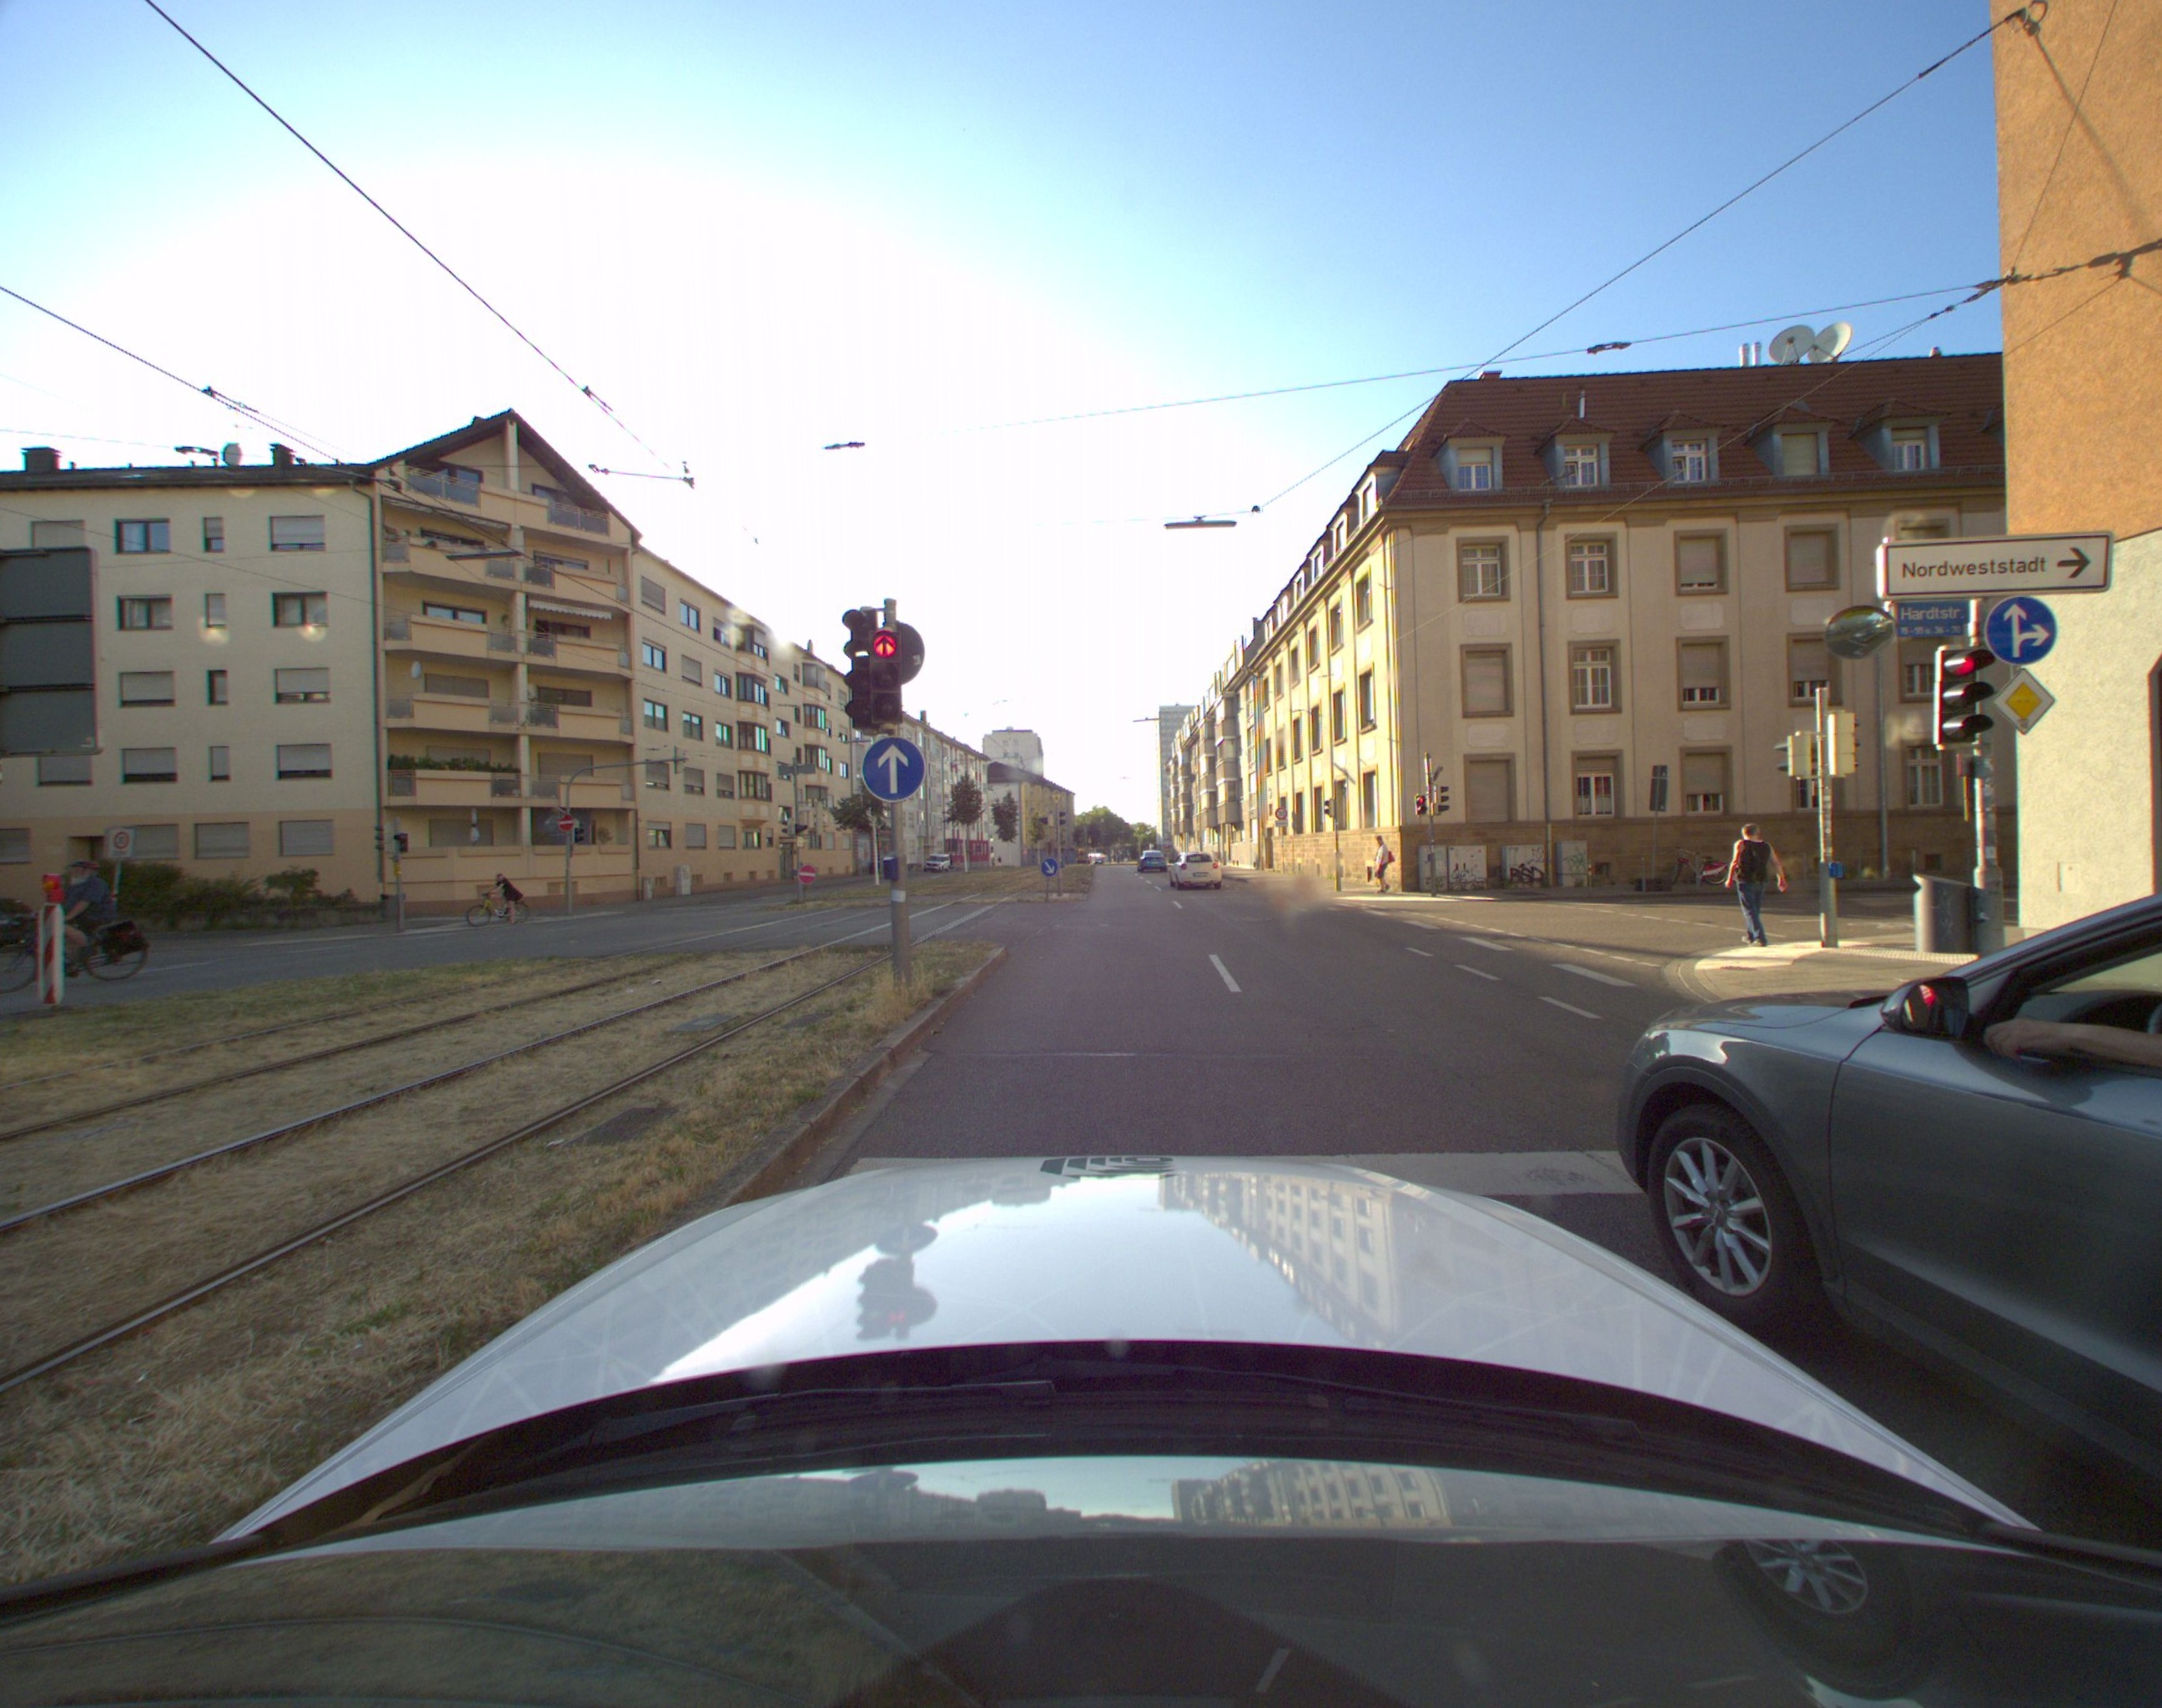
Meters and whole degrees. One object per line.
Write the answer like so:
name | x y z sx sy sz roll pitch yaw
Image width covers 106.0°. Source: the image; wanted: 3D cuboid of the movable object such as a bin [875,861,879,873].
movable object such as a bin | -17.387 1.104 69.412 0.297 1.036 0.441 0 -1 1

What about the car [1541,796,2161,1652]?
car | 2.799 0.665 1.441 1.691 1.552 4.227 0 0 2

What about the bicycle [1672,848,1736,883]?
bicycle | 18.340 0.331 23.994 1.491 1.018 0.251 -1 -1 17

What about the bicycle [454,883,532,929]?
bicycle | -18.272 1.590 25.351 0.450 1.257 1.883 -1 1 34

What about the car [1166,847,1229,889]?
car | 4.585 0.508 32.599 1.987 1.564 4.000 0 0 0

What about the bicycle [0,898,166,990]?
bicycle | -16.098 1.398 13.008 0.451 1.257 1.882 -1 1 27

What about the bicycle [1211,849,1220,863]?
bicycle | 10.212 0.155 61.745 0.382 1.096 1.503 -2 -1 0

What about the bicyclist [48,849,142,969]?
bicyclist | -16.009 0.868 13.230 0.645 1.883 0.814 -1 -1 27

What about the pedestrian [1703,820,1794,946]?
pedestrian | 9.598 0.405 11.736 0.627 1.758 0.826 0 -1 1

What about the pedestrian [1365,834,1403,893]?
pedestrian | 9.235 0.290 24.851 0.832 1.762 0.824 0 -1 1

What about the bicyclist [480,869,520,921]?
bicyclist | -18.178 1.263 25.477 0.620 1.586 0.814 -1 0 35

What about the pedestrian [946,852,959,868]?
pedestrian | -14.737 0.695 93.375 1.264 1.761 1.275 0 -1 2

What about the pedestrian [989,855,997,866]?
pedestrian | -12.680 0.936 117.700 0.957 1.694 1.013 -1 -1 7

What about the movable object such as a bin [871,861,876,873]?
movable object such as a bin | -17.571 1.113 68.843 0.297 1.036 0.442 0 -1 4

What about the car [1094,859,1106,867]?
car | 4.192 2.018 182.588 1.885 1.633 4.761 -2 0 10

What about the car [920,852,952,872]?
car | -14.582 0.818 82.138 1.984 1.925 4.548 0 -1 5

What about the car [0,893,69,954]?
car | -30.183 1.921 21.500 3.983 1.442 1.996 -2 2 -7

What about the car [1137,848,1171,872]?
car | 4.896 0.403 54.981 1.986 1.554 4.394 0 0 1

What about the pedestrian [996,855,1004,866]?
pedestrian | -11.744 0.953 118.351 0.957 1.670 1.013 -1 -1 7
